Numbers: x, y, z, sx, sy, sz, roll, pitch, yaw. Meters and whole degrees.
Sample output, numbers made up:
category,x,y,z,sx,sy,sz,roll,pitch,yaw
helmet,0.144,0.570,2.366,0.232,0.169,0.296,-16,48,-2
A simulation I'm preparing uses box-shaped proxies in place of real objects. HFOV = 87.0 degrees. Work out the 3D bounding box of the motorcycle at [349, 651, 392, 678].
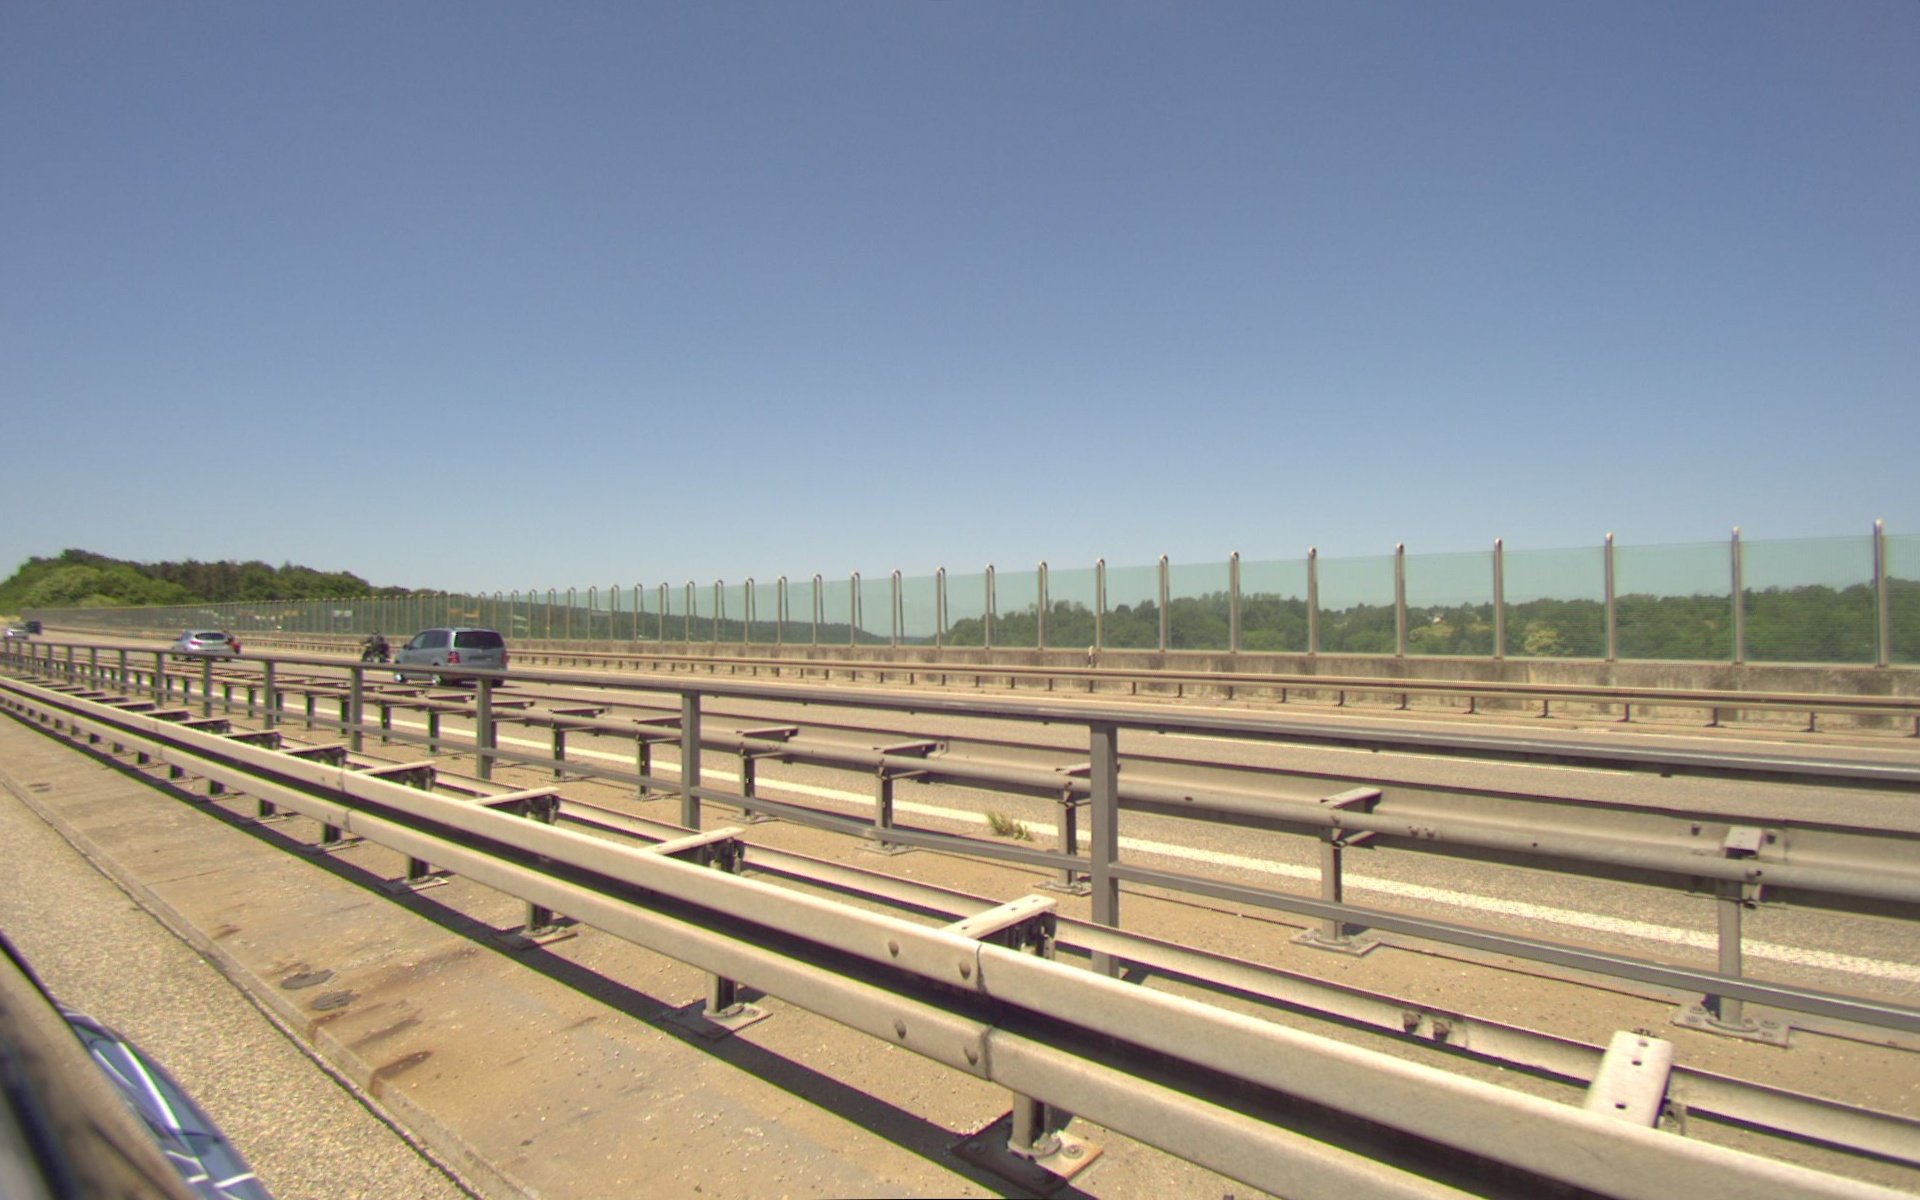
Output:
category,x,y,z,sx,sy,sz,roll,pitch,yaw
motorcycle,-25.006,2.712,42.898,2.649,1.079,0.782,-1,-3,41

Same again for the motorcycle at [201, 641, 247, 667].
category,x,y,z,sx,sy,sz,roll,pitch,yaw
motorcycle,-44.942,3.268,61.754,3.380,1.488,1.471,-1,-2,40

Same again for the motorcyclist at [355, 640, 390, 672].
category,x,y,z,sx,sy,sz,roll,pitch,yaw
motorcyclist,-24.821,2.366,42.750,1.286,1.293,0.909,-1,0,41

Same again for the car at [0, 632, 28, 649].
category,x,y,z,sx,sy,sz,roll,pitch,yaw
car,-96.656,4.128,103.269,3.998,1.667,1.797,-1,0,41

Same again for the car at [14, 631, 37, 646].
category,x,y,z,sx,sy,sz,roll,pitch,yaw
car,-121.238,4.969,131.242,3.998,1.849,1.797,-1,0,41

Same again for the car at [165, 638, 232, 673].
category,x,y,z,sx,sy,sz,roll,pitch,yaw
car,-36.131,2.589,47.996,4.123,1.501,1.713,-1,0,41

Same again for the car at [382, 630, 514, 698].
category,x,y,z,sx,sy,sz,roll,pitch,yaw
car,-14.121,1.709,27.825,4.153,1.715,1.763,-1,-3,41

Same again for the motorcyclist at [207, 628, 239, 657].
category,x,y,z,sx,sy,sz,roll,pitch,yaw
motorcyclist,-45.041,2.601,61.830,1.132,1.698,1.362,-1,0,40
